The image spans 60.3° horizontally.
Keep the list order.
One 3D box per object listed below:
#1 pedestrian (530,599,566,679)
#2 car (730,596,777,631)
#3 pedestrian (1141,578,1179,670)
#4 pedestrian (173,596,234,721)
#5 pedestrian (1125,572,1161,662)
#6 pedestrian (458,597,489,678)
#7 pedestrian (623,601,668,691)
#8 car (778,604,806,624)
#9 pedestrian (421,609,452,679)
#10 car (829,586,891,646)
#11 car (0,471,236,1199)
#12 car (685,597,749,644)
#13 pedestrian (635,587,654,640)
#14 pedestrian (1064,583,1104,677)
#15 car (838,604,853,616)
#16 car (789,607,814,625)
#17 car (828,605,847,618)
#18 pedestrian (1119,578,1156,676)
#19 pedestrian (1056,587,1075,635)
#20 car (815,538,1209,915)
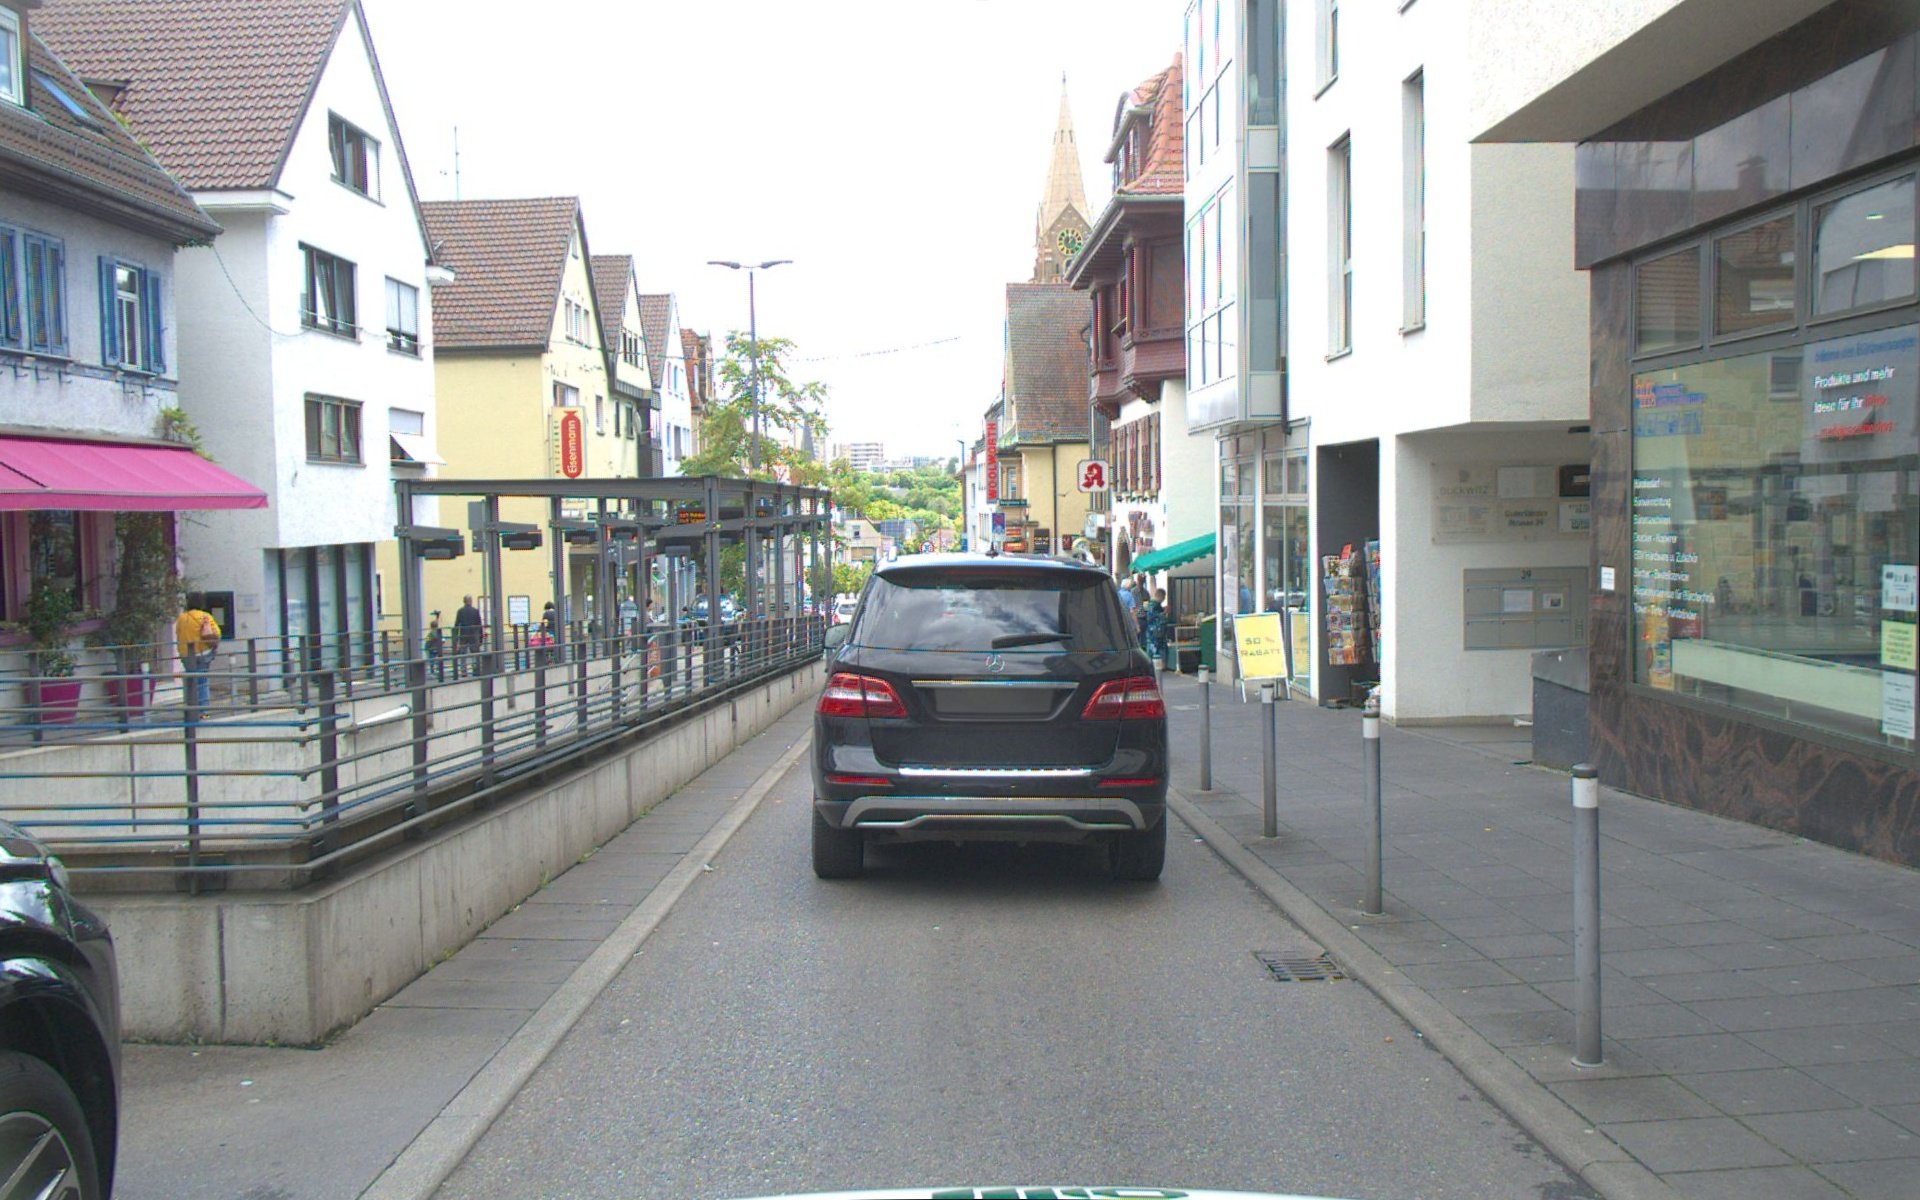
[{"bbox_3d":[-8.915,0.835,35.813,0.613,1.718,0.679,1,0,-2],"label":"pedestrian"},{"bbox_3d":[-9.183,0.590,73.755,1.627,1.516,3.747,1,0,-1],"label":"car"},{"bbox_3d":[3.817,0.450,31.524,0.562,1.718,0.565,-1,0,-8],"label":"pedestrian"},{"bbox_3d":[-10.525,0.805,23.026,0.566,1.718,0.576,1,0,-2],"label":"pedestrian"},{"bbox_3d":[3.593,0.329,32.467,0.562,1.718,0.565,-1,0,-8],"label":"pedestrian"},{"bbox_3d":[-10.475,0.802,35.644,0.602,1.718,0.561,1,0,-16],"label":"pedestrian"},{"bbox_3d":[-6.128,0.886,32.242,0.754,1.718,0.723,1,0,-19],"label":"pedestrian"},{"bbox_3d":[-9.785,0.815,96.392,1.360,1.089,3.112,-1,0,-1],"label":"car"},{"bbox_3d":[-11.012,0.924,34.784,0.447,1.446,0.533,1,0,1],"label":"pedestrian"},{"bbox_3d":[-3.058,0.474,51.259,1.734,1.743,3.999,1,0,-2],"label":"car"},{"bbox_3d":[-2.243,0.646,0.897,1.917,1.668,4.312,1,0,-2],"label":"car"},{"bbox_3d":[-8.283,0.664,56.601,1.655,1.516,3.978,1,0,-1],"label":"car"},{"bbox_3d":[-10.293,0.443,53.909,0.502,1.718,0.541,1,0,-2],"label":"pedestrian"},{"bbox_3d":[2.297,0.545,30.605,0.609,1.718,0.565,1,0,-8],"label":"pedestrian"},{"bbox_3d":[-11.748,1.023,170.044,1.360,1.089,3.112,-1,0,-1],"label":"car"},{"bbox_3d":[-10.328,1.045,107.752,1.360,1.089,3.112,-1,0,-1],"label":"car"},{"bbox_3d":[-10.567,0.988,142.794,1.360,1.089,3.112,-1,0,-1],"label":"car"},{"bbox_3d":[3.235,0.486,30.143,0.532,1.756,0.527,-1,0,-8],"label":"pedestrian"},{"bbox_3d":[3.797,0.389,59.696,0.594,1.718,0.724,-1,0,-2],"label":"pedestrian"},{"bbox_3d":[0.157,0.605,9.902,1.862,1.777,3.998,1,0,-3],"label":"car"}]
